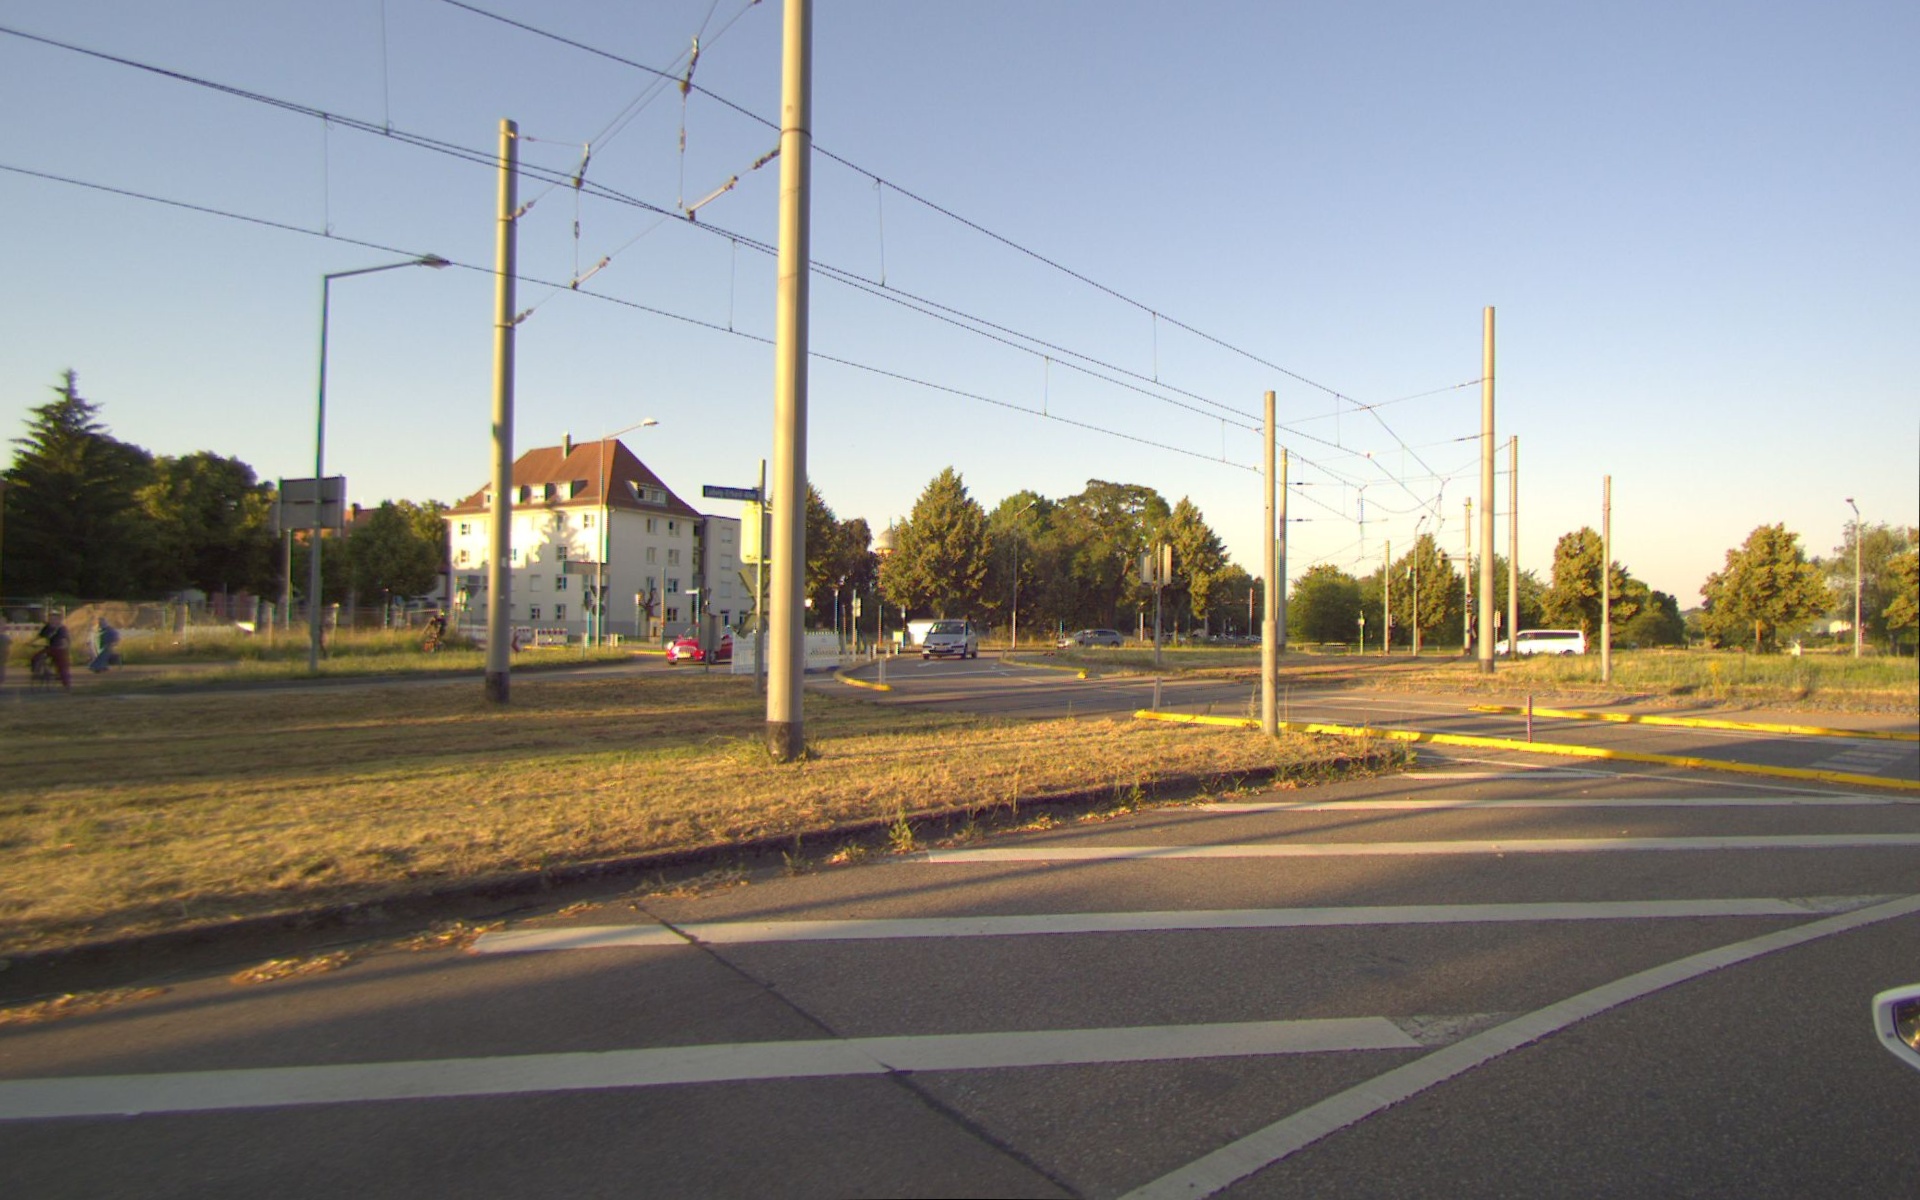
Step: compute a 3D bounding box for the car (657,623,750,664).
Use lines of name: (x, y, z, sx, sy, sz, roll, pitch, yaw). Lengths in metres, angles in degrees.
car: (-8.918, 1.494, 35.266, 1.797, 1.350, 4.003, 0, -1, 7)

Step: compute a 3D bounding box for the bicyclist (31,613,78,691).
bicyclist: (-18.160, 1.034, 20.165, 0.587, 1.526, 0.806, 1, -1, -36)

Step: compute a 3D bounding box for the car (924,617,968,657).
car: (-0.581, 1.406, 38.849, 1.575, 1.485, 3.709, 0, -1, -3)

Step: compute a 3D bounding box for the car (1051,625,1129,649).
car: (8.213, 2.335, 63.305, 4.592, 1.434, 1.918, 1, -1, -27)

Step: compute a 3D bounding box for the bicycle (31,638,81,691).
bicycle: (-18.288, 1.279, 20.347, 0.532, 0.993, 1.825, 1, -1, -36)

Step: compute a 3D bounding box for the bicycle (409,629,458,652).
bicycle: (-20.713, 1.567, 39.564, 0.502, 0.857, 2.137, 0, -1, 9)

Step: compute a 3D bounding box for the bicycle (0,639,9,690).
bicycle: (-19.140, 1.274, 19.628, 0.544, 0.993, 1.825, 1, -1, -36)

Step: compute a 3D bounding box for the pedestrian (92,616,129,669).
pedestrian: (-22.532, 1.122, 26.650, 0.688, 1.384, 0.612, 1, -1, -37)

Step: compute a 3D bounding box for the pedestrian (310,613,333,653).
pedestrian: (-22.447, 1.169, 35.332, 0.425, 1.384, 0.504, 0, -1, 19)

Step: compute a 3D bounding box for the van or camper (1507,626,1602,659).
van or camper: (38.842, 2.773, 65.813, 5.203, 2.036, 1.913, 0, -1, 26)

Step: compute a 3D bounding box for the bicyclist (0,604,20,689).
bicyclist: (-19.073, 0.903, 19.708, 0.807, 1.662, 0.806, 1, -1, -37)

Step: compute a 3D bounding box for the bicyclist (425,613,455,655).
bicyclist: (-20.571, 1.343, 39.759, 0.681, 1.655, 0.799, 0, -1, 9)
